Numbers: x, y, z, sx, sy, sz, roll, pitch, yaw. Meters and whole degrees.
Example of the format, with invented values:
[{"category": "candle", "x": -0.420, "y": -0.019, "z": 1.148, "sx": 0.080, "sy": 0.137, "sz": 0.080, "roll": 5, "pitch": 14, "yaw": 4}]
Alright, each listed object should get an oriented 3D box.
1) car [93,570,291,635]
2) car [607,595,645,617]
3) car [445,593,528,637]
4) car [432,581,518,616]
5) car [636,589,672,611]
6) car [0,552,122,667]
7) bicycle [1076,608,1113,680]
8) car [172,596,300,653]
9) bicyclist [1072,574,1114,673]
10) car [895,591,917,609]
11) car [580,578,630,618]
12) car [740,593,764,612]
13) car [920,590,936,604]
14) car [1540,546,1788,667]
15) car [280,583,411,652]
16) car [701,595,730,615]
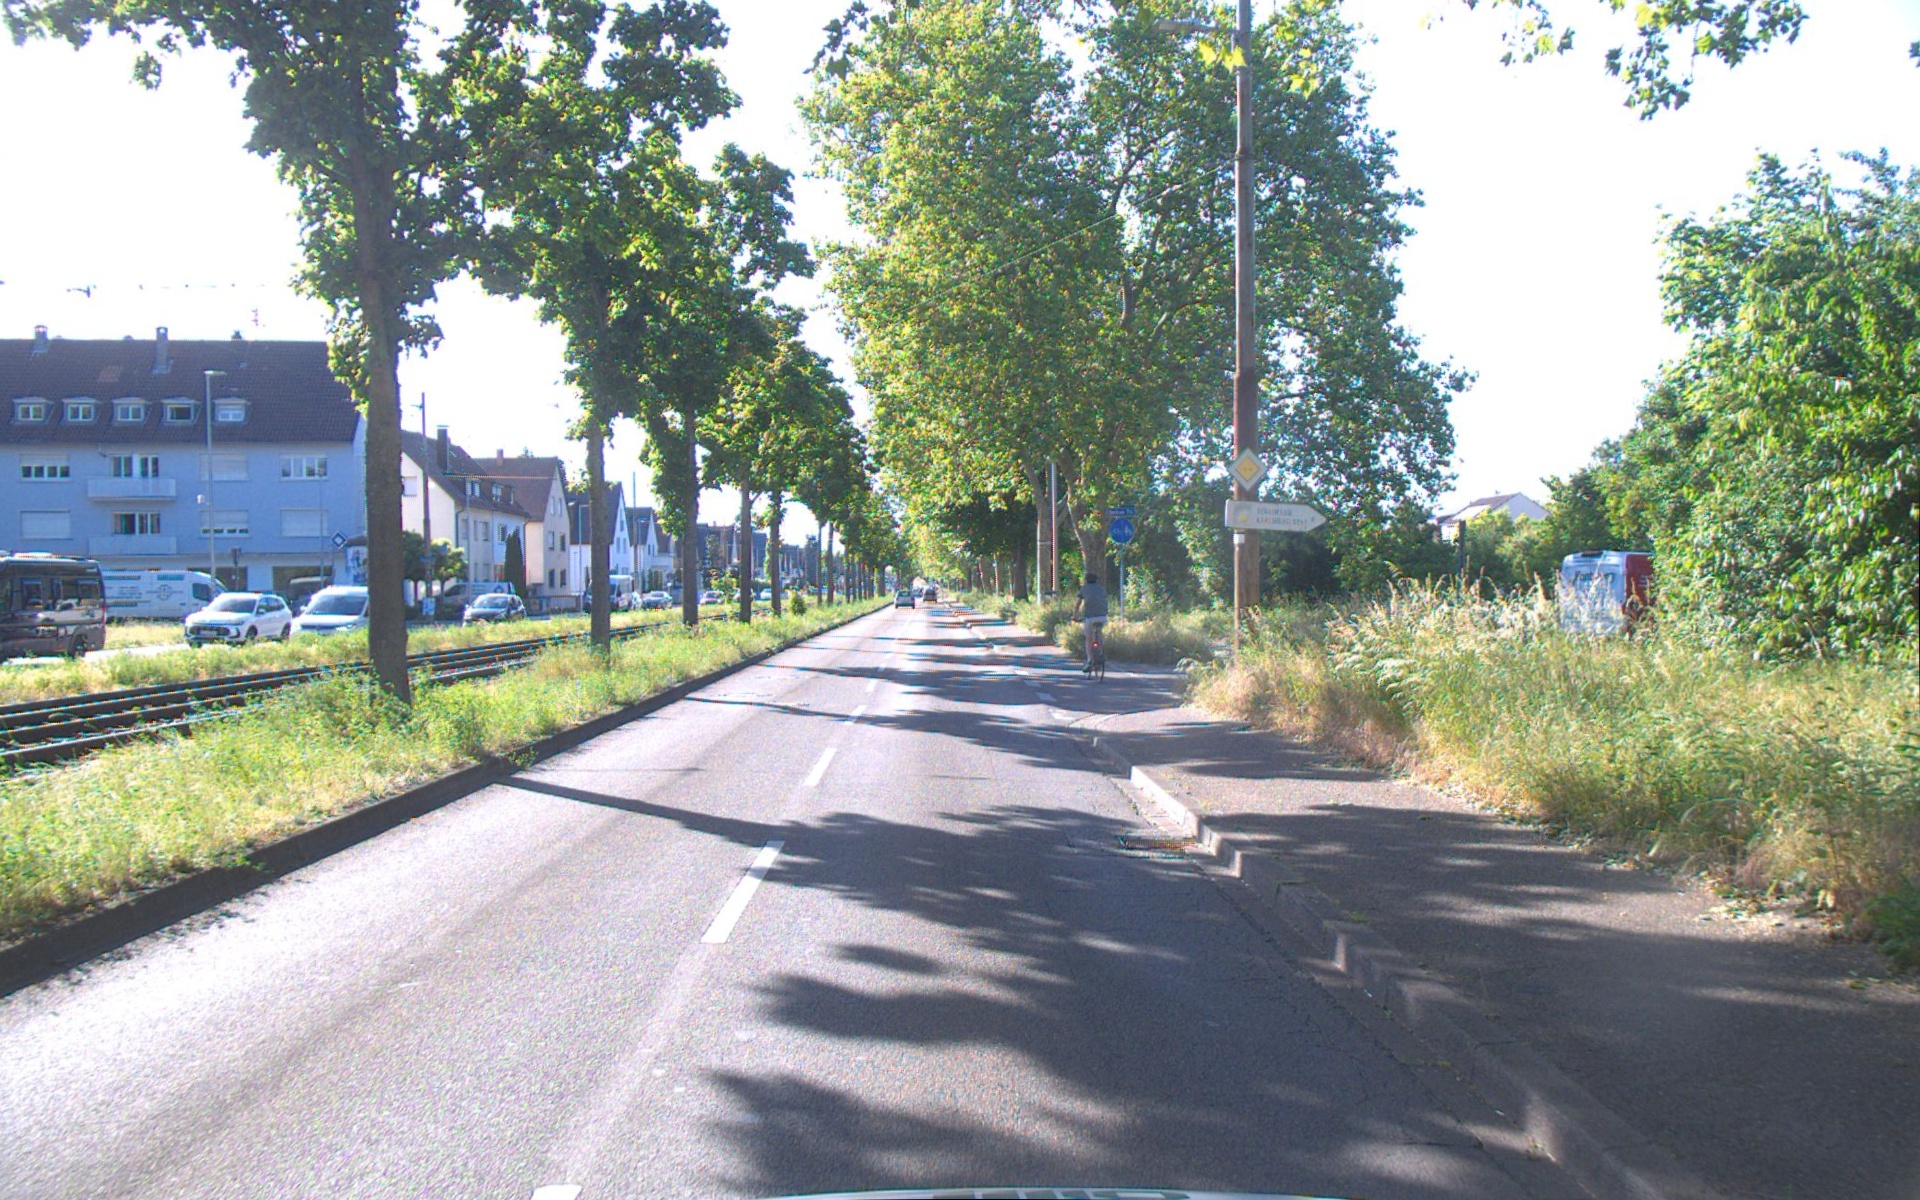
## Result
[{"category": "car", "x": -31.404, "y": 0.099, "z": 67.835, "sx": 6.929, "sy": 2.551, "sz": 2.328, "roll": 1, "pitch": 0, "yaw": -6}, {"category": "car", "x": -23.000, "y": 0.428, "z": 114.020, "sx": 1.787, "sy": 1.437, "sz": 4.656, "roll": 1, "pitch": 0, "yaw": -2}, {"category": "car", "x": -17.465, "y": 0.520, "z": 61.162, "sx": 1.953, "sy": 1.558, "sz": 3.751, "roll": -1, "pitch": 0, "yaw": 0}, {"category": "car", "x": -27.716, "y": -0.077, "z": 94.651, "sx": 4.536, "sy": 1.979, "sz": 1.994, "roll": 0, "pitch": 0, "yaw": -12}, {"category": "car", "x": -23.617, "y": -0.035, "z": 127.694, "sx": 1.953, "sy": 1.609, "sz": 4.497, "roll": 1, "pitch": 0, "yaw": -1}, {"category": "car", "x": -21.253, "y": 0.198, "z": 36.627, "sx": 2.138, "sy": 2.418, "sz": 6.463, "roll": 1, "pitch": 0, "yaw": -1}, {"category": "bicycle", "x": 2.288, "y": 0.738, "z": 28.312, "sx": 0.431, "sy": 1.173, "sz": 1.822, "roll": -1, "pitch": 0, "yaw": -1}, {"category": "car", "x": -21.723, "y": 0.714, "z": 49.813, "sx": 1.786, "sy": 1.635, "sz": 4.772, "roll": 1, "pitch": 0, "yaw": -1}, {"category": "bicyclist", "x": 2.270, "y": 0.389, "z": 28.264, "sx": 0.601, "sy": 1.657, "sz": 0.909, "roll": -1, "pitch": 0, "yaw": -1}, {"category": "car", "x": -4.233, "y": 0.011, "z": 131.006, "sx": 1.703, "sy": 1.425, "sz": 3.275, "roll": 1, "pitch": 0, "yaw": -1}, {"category": "car", "x": -23.166, "y": -0.134, "z": 108.154, "sx": 1.953, "sy": 2.502, "sz": 6.672, "roll": 1, "pitch": 0, "yaw": -2}, {"category": "car", "x": -21.358, "y": 0.271, "z": 169.931, "sx": 1.876, "sy": 1.916, "sz": 4.523, "roll": 1, "pitch": 0, "yaw": 0}, {"category": "car", "x": -3.687, "y": -0.330, "z": 190.866, "sx": 1.725, "sy": 1.539, "sz": 3.276, "roll": 1, "pitch": 0, "yaw": 0}, {"category": "car", "x": 15.383, "y": 0.155, "z": 36.151, "sx": 4.920, "sy": 2.481, "sz": 2.311, "roll": 1, "pitch": 0, "yaw": -25}, {"category": "car", "x": -16.688, "y": 0.470, "z": 45.214, "sx": 1.774, "sy": 1.775, "sz": 4.980, "roll": 1, "pitch": 0, "yaw": -1}, {"category": "car", "x": -18.192, "y": 0.379, "z": 123.273, "sx": 1.642, "sy": 1.434, "sz": 3.999, "roll": -1, "pitch": 0, "yaw": -1}]
